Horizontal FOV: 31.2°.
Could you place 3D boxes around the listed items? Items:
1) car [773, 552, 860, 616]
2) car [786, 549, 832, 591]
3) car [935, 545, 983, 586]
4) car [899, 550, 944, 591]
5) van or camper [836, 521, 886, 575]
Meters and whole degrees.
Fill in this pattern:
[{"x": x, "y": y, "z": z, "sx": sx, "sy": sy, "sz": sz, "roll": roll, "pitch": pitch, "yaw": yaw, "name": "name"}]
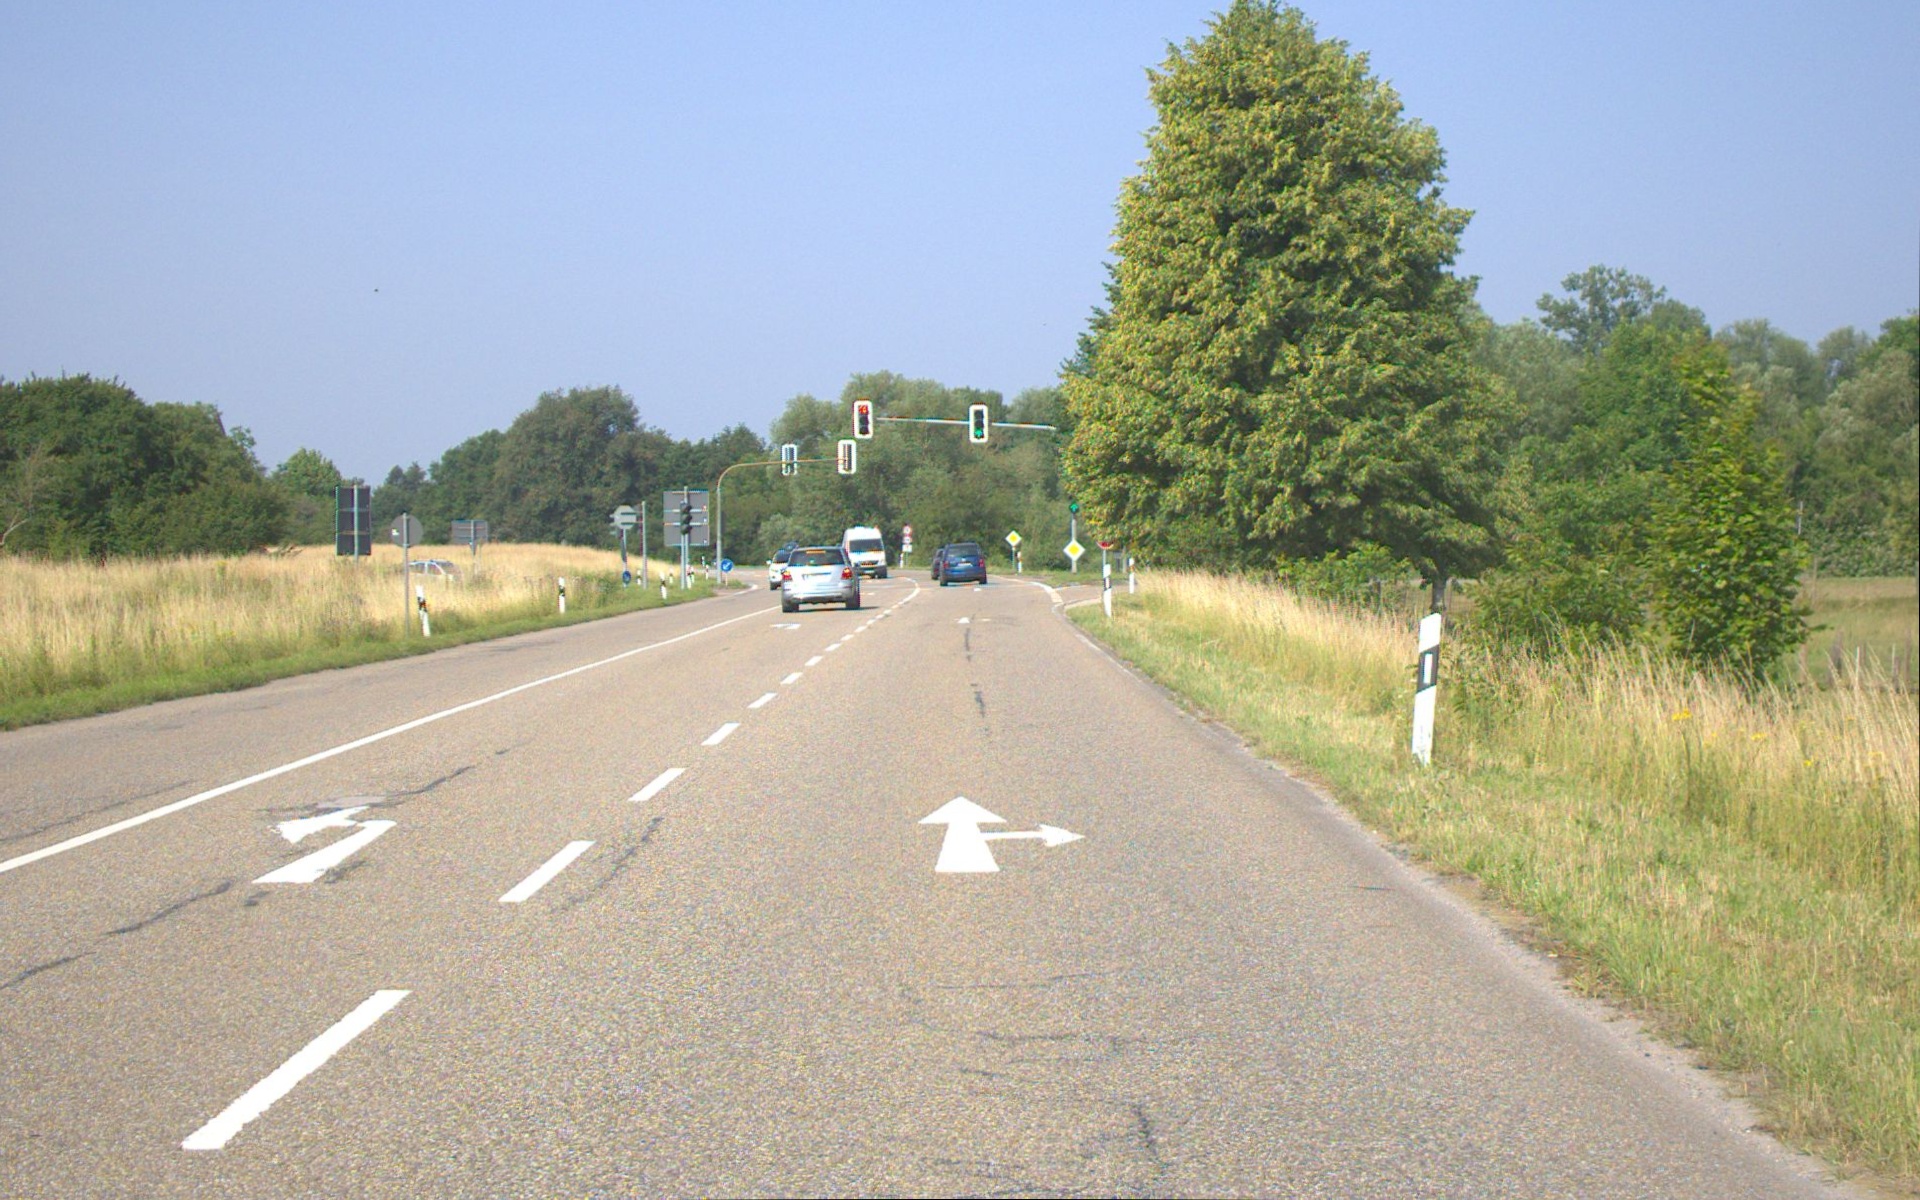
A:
[{"x": -3.572, "y": -0.420, "z": 86.249, "sx": 1.899, "sy": 1.506, "sz": 4.000, "roll": 2, "pitch": 1, "yaw": 1, "name": "car"}, {"x": -6.517, "y": -1.317, "z": 148.954, "sx": 1.592, "sy": 1.722, "sz": 4.000, "roll": 2, "pitch": 1, "yaw": 3, "name": "car"}, {"x": -0.015, "y": -1.360, "z": 135.145, "sx": 1.816, "sy": 1.515, "sz": 4.000, "roll": 2, "pitch": 1, "yaw": 0, "name": "car"}, {"x": -1.783, "y": -1.381, "z": 160.472, "sx": 1.993, "sy": 1.809, "sz": 4.000, "roll": 2, "pitch": 1, "yaw": 0, "name": "car"}, {"x": -5.113, "y": -2.710, "z": 178.256, "sx": 2.265, "sy": 2.700, "sz": 5.262, "roll": 2, "pitch": 1, "yaw": 1, "name": "van or camper"}]
